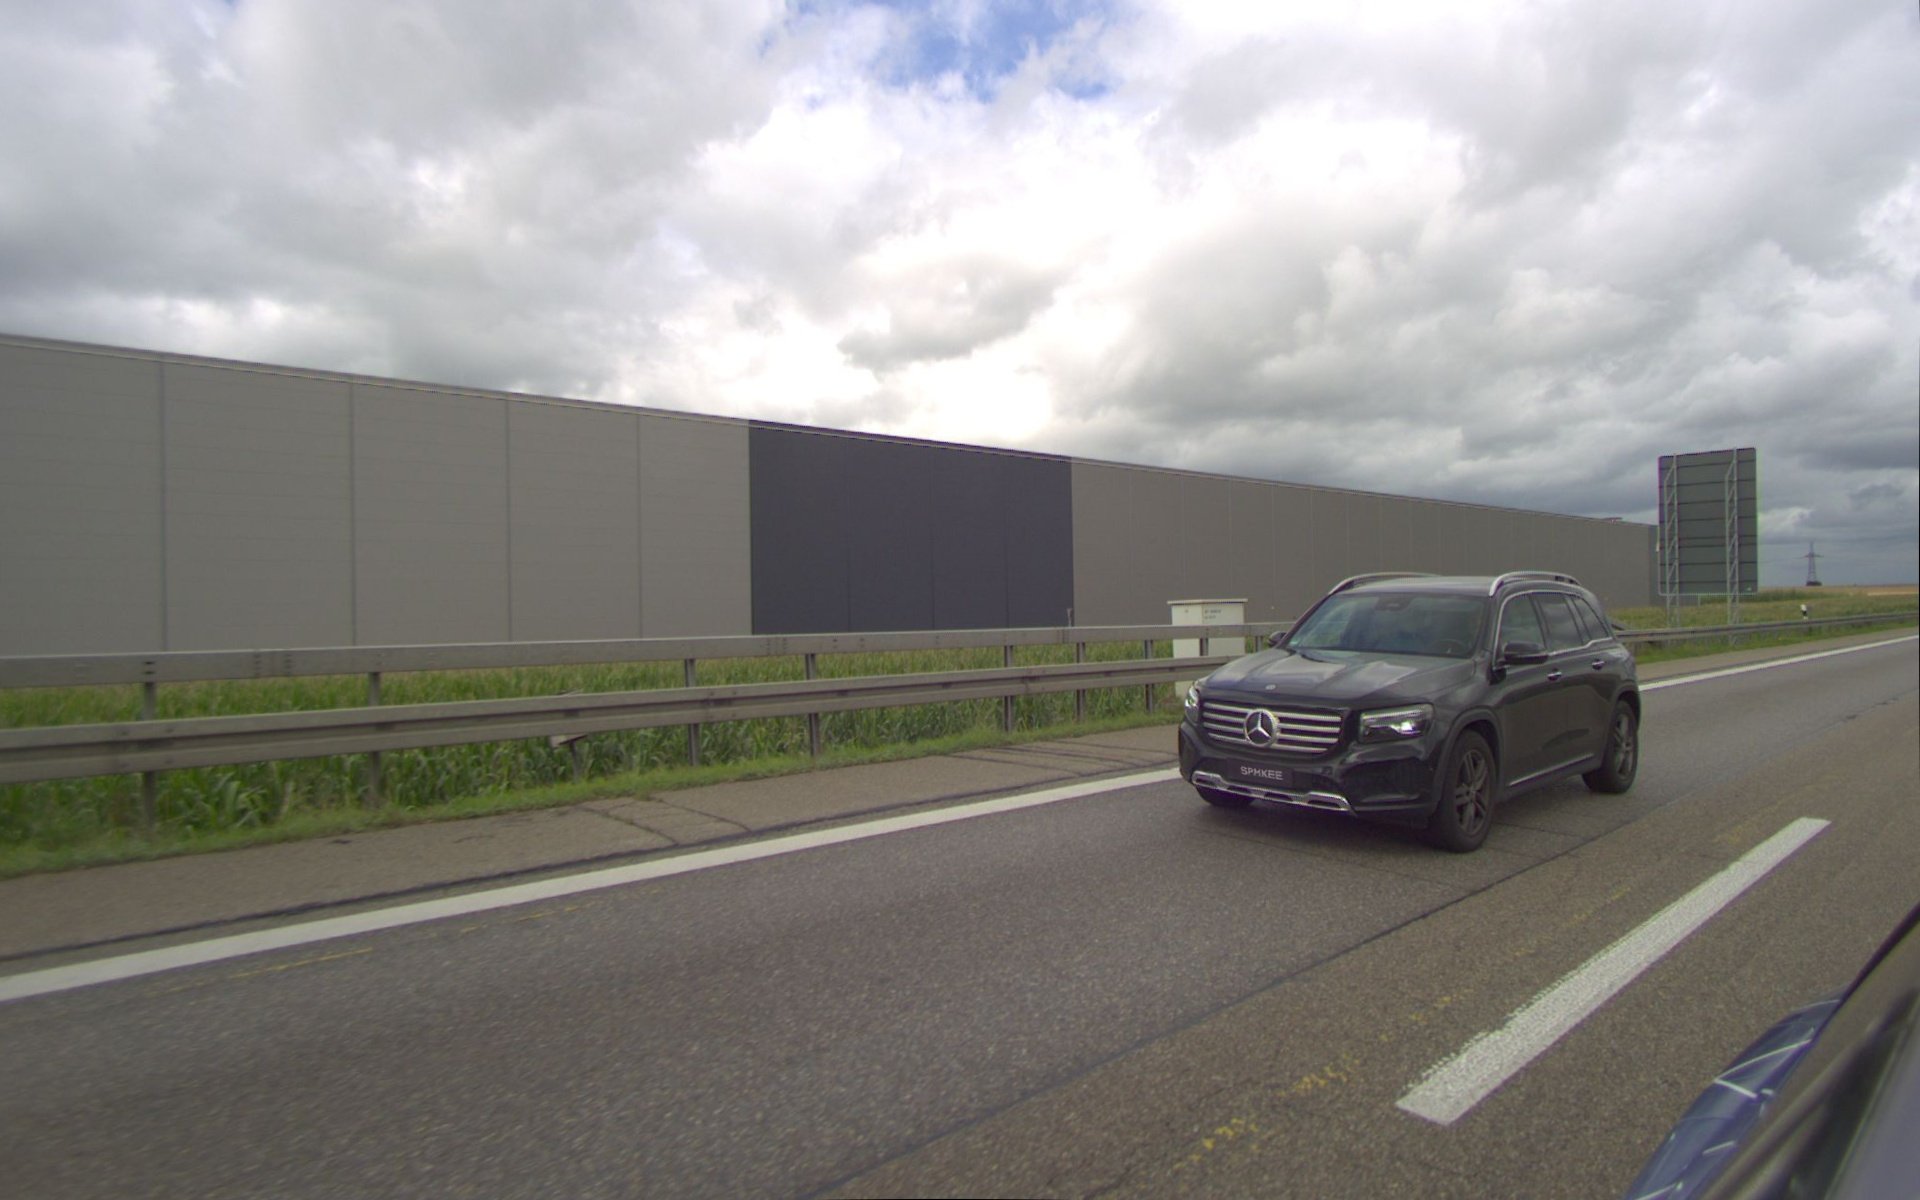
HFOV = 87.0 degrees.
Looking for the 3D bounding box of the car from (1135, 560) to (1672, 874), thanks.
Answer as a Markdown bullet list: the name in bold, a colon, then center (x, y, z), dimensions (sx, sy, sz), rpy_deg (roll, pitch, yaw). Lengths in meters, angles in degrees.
- **car**: center (3.382, 0.557, 7.325), dimensions (4.283, 1.629, 1.837), rpy_deg (-1, 1, -39)
